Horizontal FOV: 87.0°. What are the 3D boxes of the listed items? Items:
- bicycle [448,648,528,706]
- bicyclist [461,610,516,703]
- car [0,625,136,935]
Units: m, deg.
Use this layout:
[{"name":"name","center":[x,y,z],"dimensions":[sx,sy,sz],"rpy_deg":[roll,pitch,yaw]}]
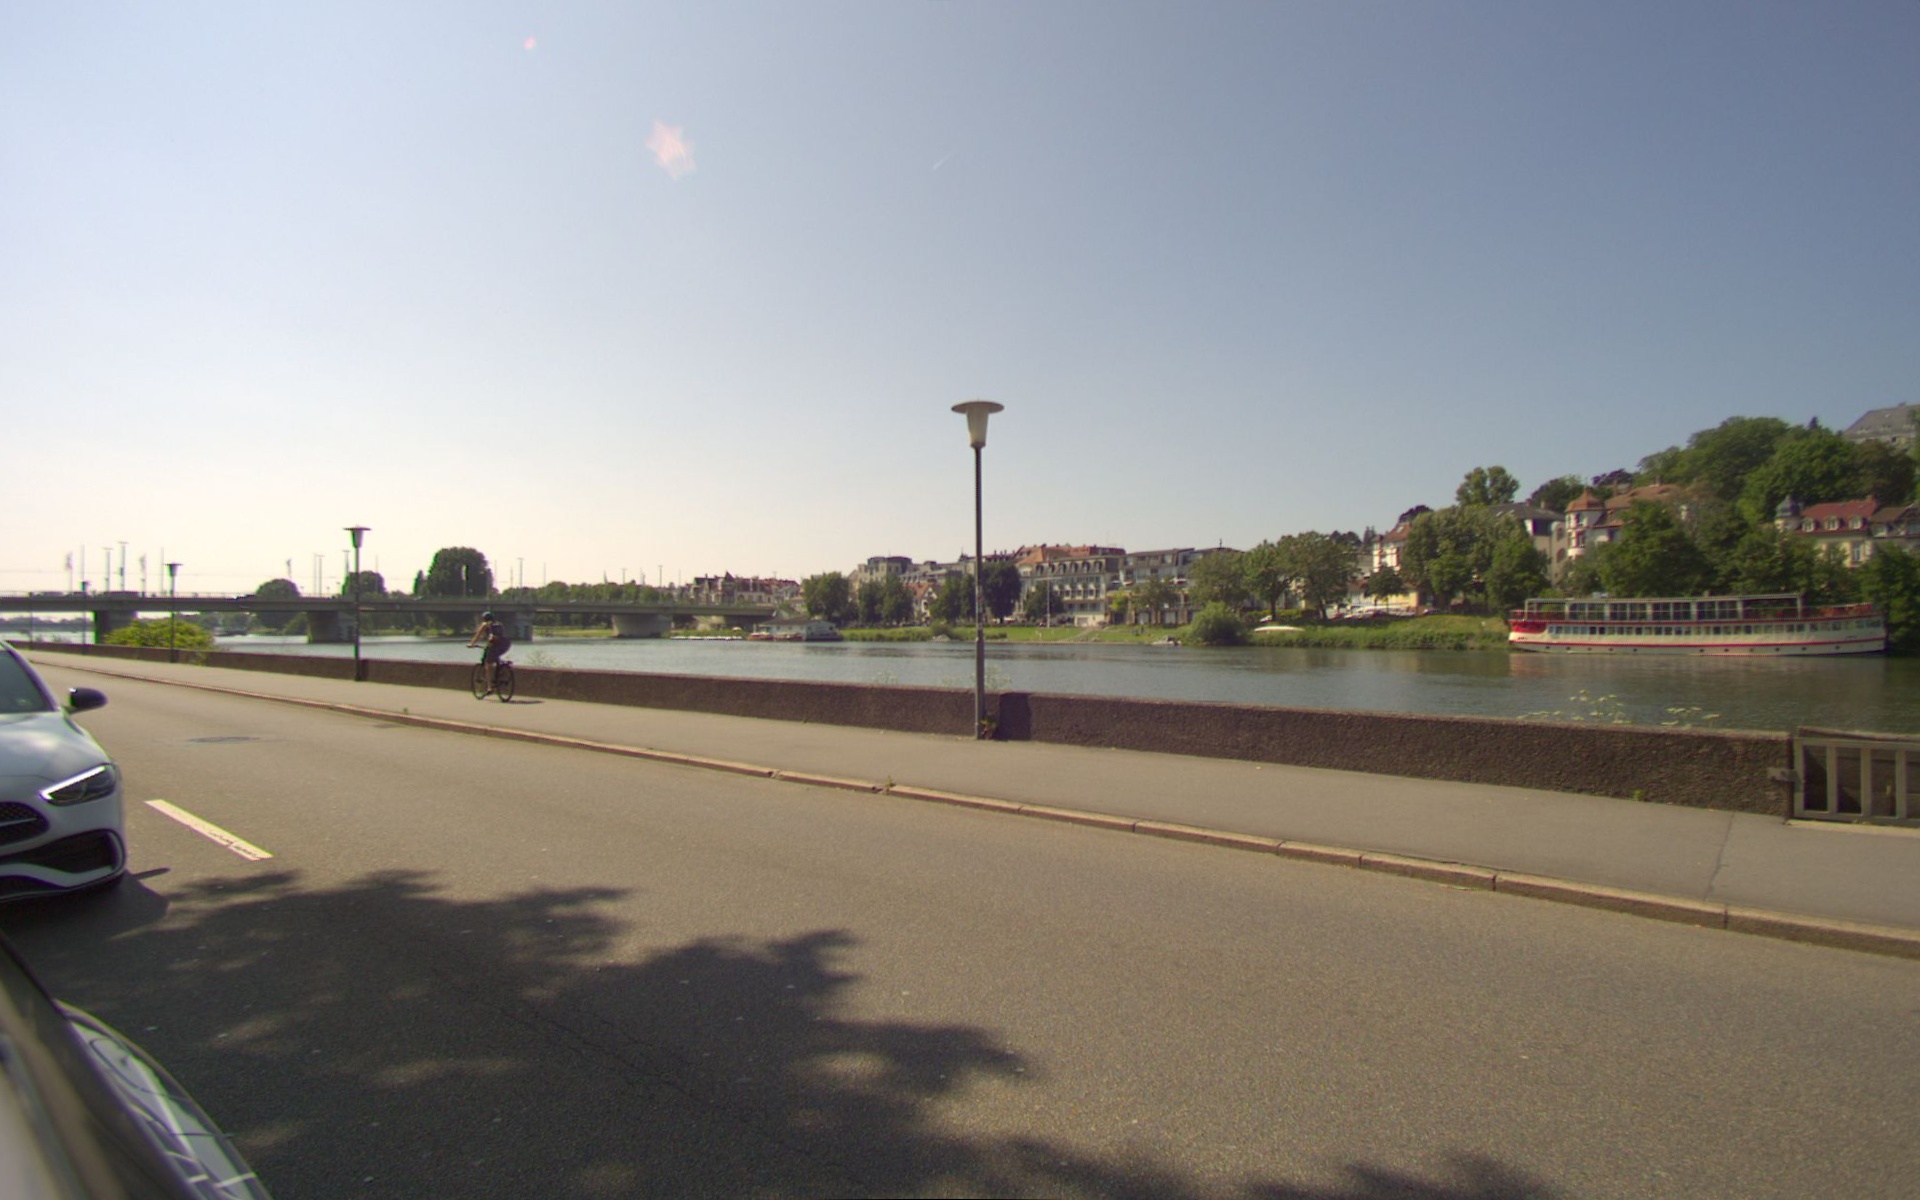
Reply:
[{"name":"bicycle","center":[-8.970,1.430,19.196],"dimensions":[1.984,1.019,0.626],"rpy_deg":[-2,-2,41]},{"name":"bicyclist","center":[-8.877,1.049,19.040],"dimensions":[0.870,1.686,0.631],"rpy_deg":[-2,-2,41]},{"name":"car","center":[-6.437,0.905,5.934],"dimensions":[4.551,1.430,1.806],"rpy_deg":[-2,-1,42]}]
